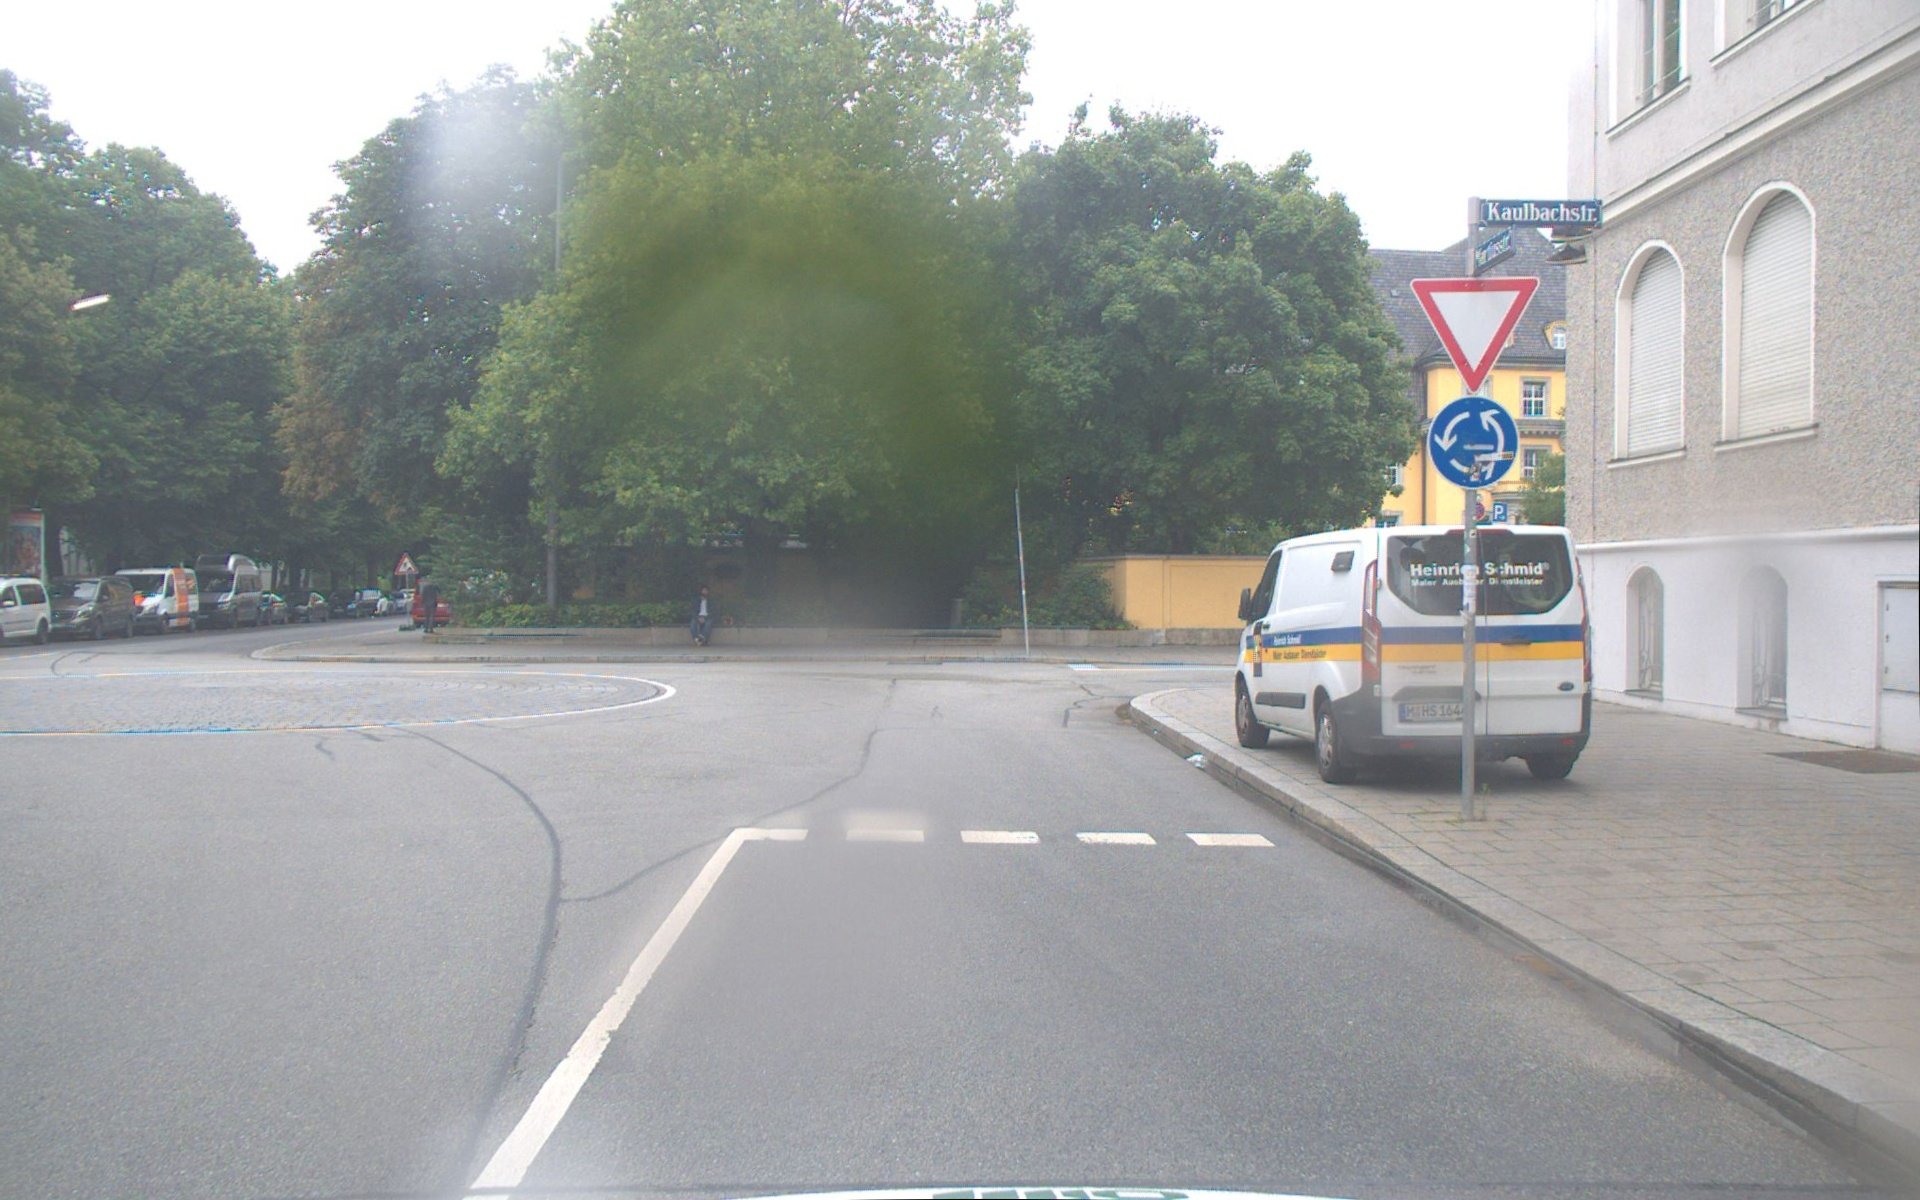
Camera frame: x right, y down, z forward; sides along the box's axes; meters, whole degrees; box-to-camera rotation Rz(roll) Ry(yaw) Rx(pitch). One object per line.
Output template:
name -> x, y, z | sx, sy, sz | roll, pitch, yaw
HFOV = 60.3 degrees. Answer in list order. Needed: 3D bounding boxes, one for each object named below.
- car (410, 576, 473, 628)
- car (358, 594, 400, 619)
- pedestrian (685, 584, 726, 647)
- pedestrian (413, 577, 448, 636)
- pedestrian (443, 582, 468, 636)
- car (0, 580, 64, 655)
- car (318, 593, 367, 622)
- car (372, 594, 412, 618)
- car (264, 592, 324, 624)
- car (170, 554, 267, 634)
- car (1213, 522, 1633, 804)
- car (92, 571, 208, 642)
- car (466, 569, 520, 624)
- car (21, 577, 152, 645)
car -> -20.577, 0.080, 65.833 | 1.877, 1.971, 4.954 | 0, 0, -12
car -> -35.901, 0.389, 102.254 | 1.959, 1.513, 4.116 | 0, 0, -13
pedestrian -> -5.669, 0.346, 36.852 | 0.753, 1.380, 1.131 | 0, 0, -1
pedestrian -> -17.026, 0.210, 53.150 | 0.813, 1.868, 0.940 | 0, 0, -37
pedestrian -> -16.192, 0.287, 53.078 | 0.627, 1.696, 0.690 | 0, 0, -32
car -> -26.062, 0.436, 44.353 | 2.045, 1.937, 4.849 | 0, 0, -9
car -> -34.075, 0.395, 91.312 | 1.959, 1.513, 4.116 | 0, 0, -13
car -> -36.972, 0.387, 107.720 | 1.959, 1.513, 4.116 | 0, 0, -13
car -> -31.362, 0.362, 77.946 | 1.959, 1.445, 4.116 | 0, 0, -13
car -> -29.885, -0.242, 66.888 | 2.133, 3.055, 6.218 | 0, 0, -10
car -> 3.693, 0.415, 14.379 | 1.900, 1.955, 5.372 | -1, 1, -3
car -> -28.353, 0.196, 58.086 | 2.045, 2.304, 5.590 | -2, 0, -9
car -> -22.965, -0.170, 81.523 | 1.957, 2.603, 5.418 | 0, 0, -9
car -> -27.008, 0.299, 51.350 | 1.990, 1.941, 5.651 | -1, 0, -11
